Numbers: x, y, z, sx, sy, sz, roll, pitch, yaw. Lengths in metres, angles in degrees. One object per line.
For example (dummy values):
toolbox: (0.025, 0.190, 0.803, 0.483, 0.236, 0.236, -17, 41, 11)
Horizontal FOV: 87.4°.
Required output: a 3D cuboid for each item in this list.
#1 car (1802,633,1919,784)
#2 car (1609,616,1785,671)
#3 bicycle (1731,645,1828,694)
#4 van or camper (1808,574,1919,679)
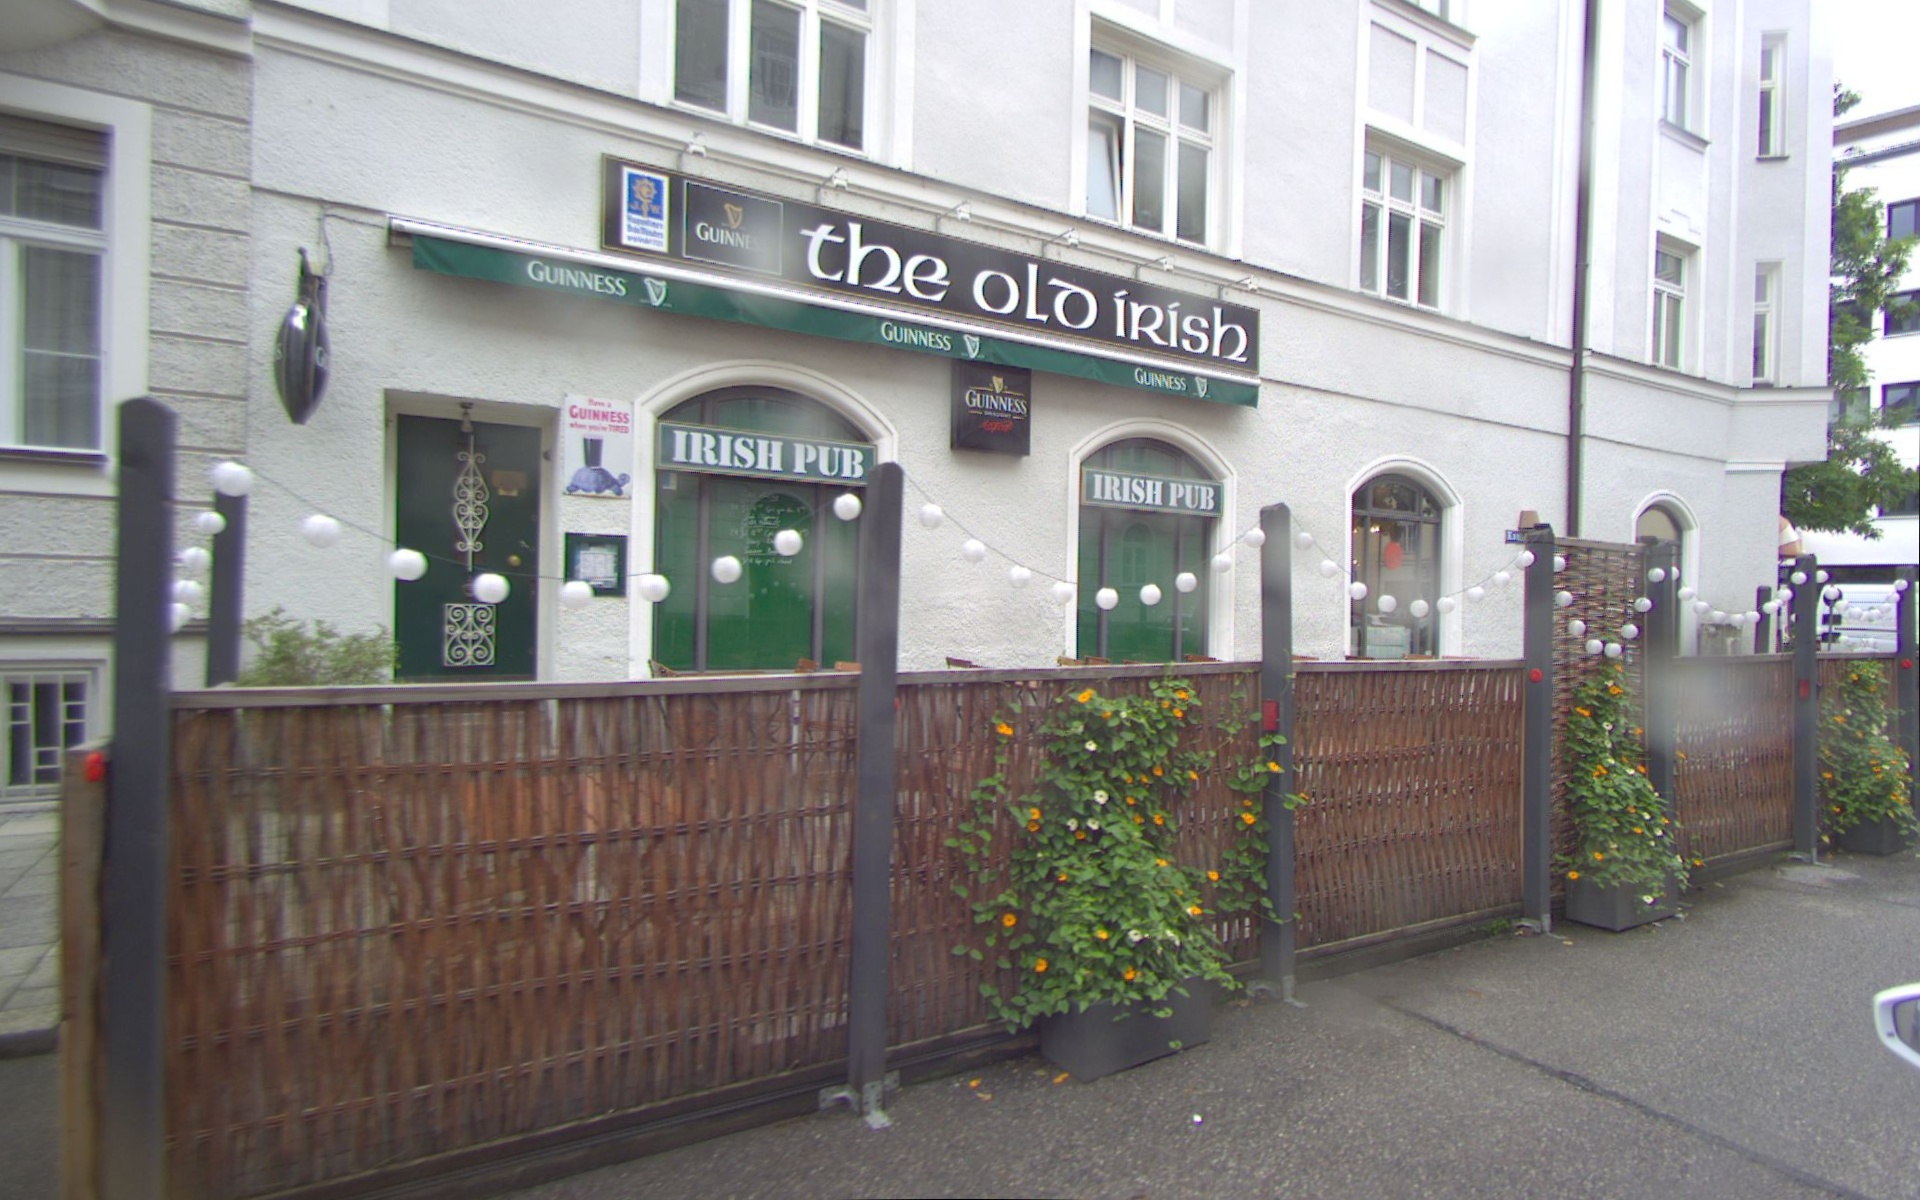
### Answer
car: (10.640, 1.056, 10.382, 3.952, 1.408, 1.699, 1, -2, -29)
car: (22.037, 1.282, 30.124, 1.788, 1.447, 4.013, 5, -3, -44)
bicycle: (18.236, 1.542, 22.405, 1.537, 0.959, 0.897, 3, -1, 32)
van or camper: (25.885, 0.726, 25.936, 1.858, 2.712, 5.855, 3, -2, -40)
